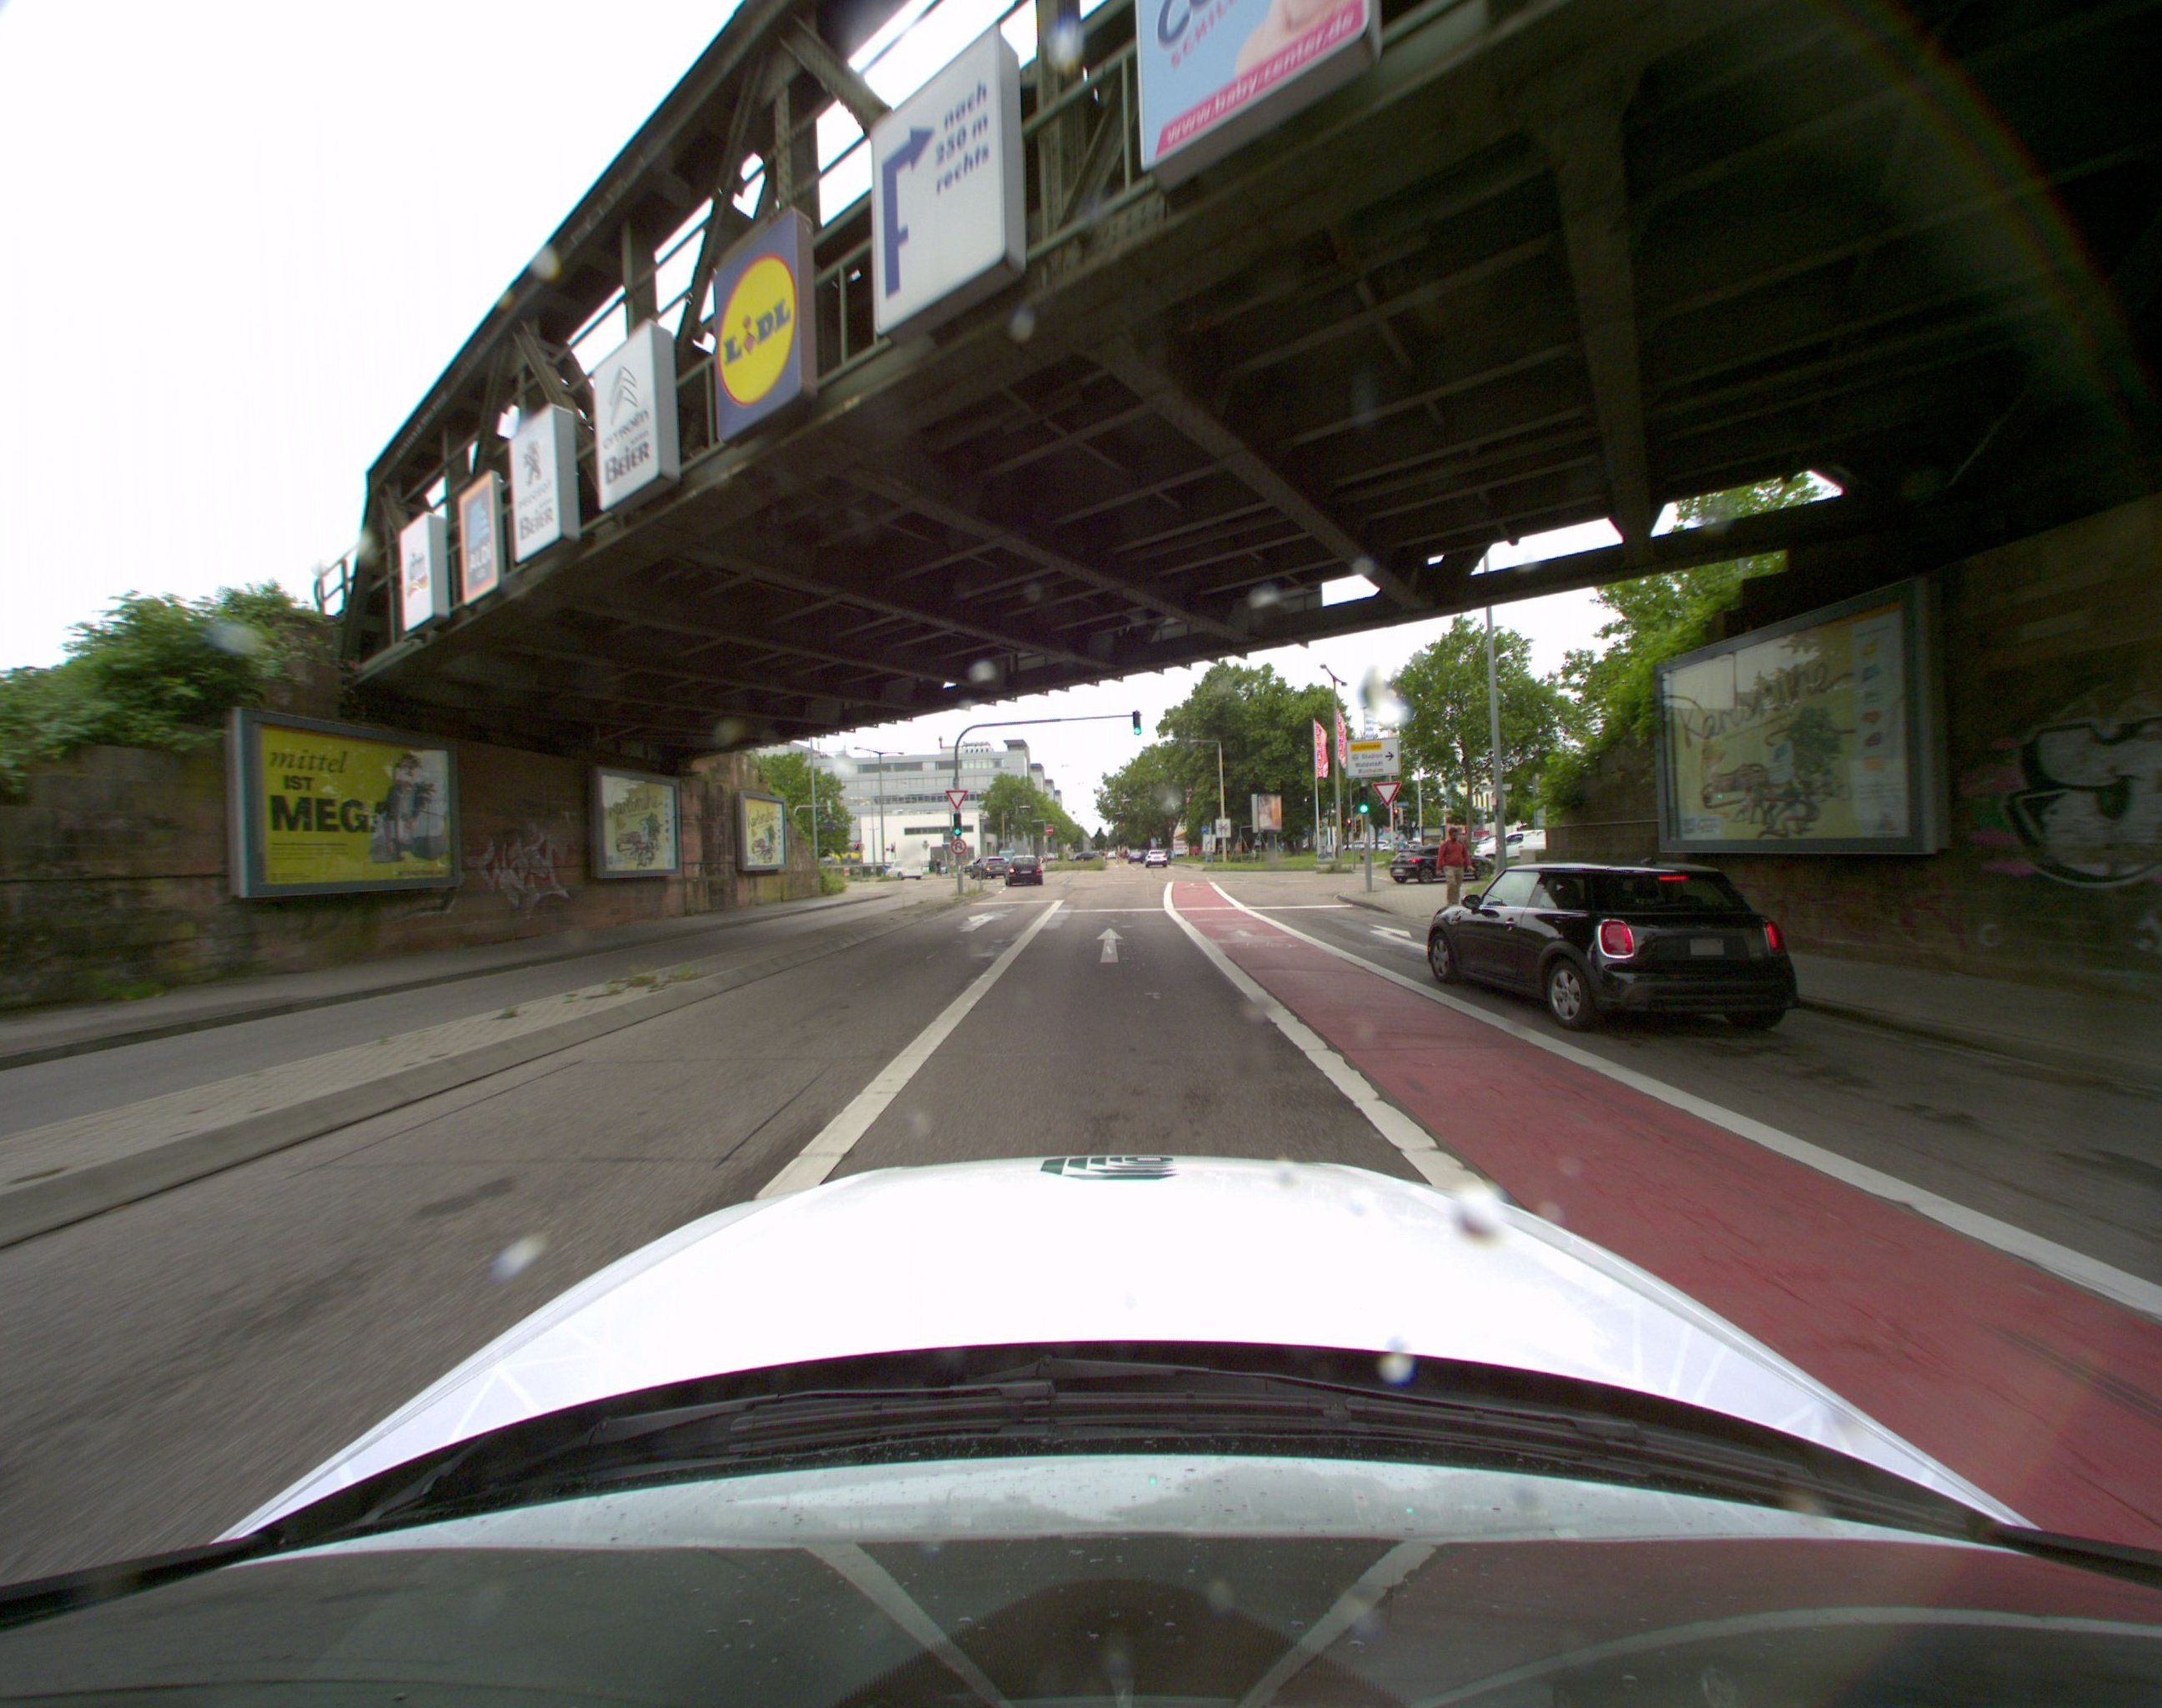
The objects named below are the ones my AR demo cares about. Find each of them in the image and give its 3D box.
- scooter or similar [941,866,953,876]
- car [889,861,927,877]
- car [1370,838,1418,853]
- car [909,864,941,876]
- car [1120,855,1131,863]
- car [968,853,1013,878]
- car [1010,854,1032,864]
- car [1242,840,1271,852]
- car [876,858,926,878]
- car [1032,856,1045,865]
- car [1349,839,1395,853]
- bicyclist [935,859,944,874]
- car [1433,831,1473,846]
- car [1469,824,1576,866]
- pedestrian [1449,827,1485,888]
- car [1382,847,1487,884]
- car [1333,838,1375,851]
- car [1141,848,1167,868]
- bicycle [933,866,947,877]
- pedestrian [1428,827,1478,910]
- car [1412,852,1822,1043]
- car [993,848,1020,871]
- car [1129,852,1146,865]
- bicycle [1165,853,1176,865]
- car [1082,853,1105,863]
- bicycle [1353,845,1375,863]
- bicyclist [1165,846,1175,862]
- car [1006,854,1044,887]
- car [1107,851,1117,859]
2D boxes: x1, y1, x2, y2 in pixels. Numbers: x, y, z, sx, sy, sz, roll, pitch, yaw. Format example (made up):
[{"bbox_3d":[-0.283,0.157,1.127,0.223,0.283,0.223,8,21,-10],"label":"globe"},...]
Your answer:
[{"bbox_3d":[-14.163,1.808,86.194,0.640,1.062,1.456,-1,1,15],"label":"scooter or similar"},{"bbox_3d":[-18.956,1.631,89.326,3.626,1.527,1.783,-3,0,20],"label":"car"},{"bbox_3d":[34.198,-0.935,89.008,4.434,1.497,1.929,-1,0,-3],"label":"car"},{"bbox_3d":[-23.524,2.400,122.913,4.514,1.634,1.912,-3,0,-2],"label":"car"},{"bbox_3d":[9.201,1.047,167.783,1.871,1.632,4.000,-3,0,0],"label":"car"},{"bbox_3d":[-6.418,0.807,57.292,1.784,1.652,3.633,-2,1,-31],"label":"car"},{"bbox_3d":[-12.503,1.062,169.953,4.398,1.783,1.825,-3,0,-1],"label":"car"},{"bbox_3d":[29.839,-1.327,138.690,4.537,1.790,2.074,-3,1,1],"label":"car"},{"bbox_3d":[-15.053,1.124,67.980,1.979,1.527,4.951,-2,1,-40],"label":"car"},{"bbox_3d":[-7.920,1.293,152.584,1.811,1.475,4.134,-4,-2,4],"label":"car"},{"bbox_3d":[34.065,-0.934,95.536,4.660,1.497,2.170,-1,0,-1],"label":"car"},{"bbox_3d":[-14.665,1.310,84.413,0.640,1.518,0.629,-1,0,15],"label":"bicyclist"},{"bbox_3d":[50.817,-2.131,111.338,4.544,1.677,2.152,-3,0,-4],"label":"car"},{"bbox_3d":[21.566,-0.387,39.856,4.364,1.829,1.892,-3,-2,34],"label":"car"},{"bbox_3d":[10.552,0.091,22.293,0.736,1.640,0.782,-2,0,18],"label":"pedestrian"},{"bbox_3d":[13.604,0.409,31.408,3.412,1.281,1.645,-1,0,-13],"label":"car"},{"bbox_3d":[33.916,-1.188,101.346,4.520,1.497,1.957,-1,0,-3],"label":"car"},{"bbox_3d":[6.394,0.334,71.293,1.818,1.600,3.774,-1,1,-2],"label":"car"},{"bbox_3d":[-14.635,1.805,84.520,0.640,1.062,2.009,-1,1,15],"label":"bicycle"},{"bbox_3d":[8.224,0.314,17.996,0.863,1.759,0.792,-2,0,30],"label":"pedestrian"},{"bbox_3d":[4.888,0.726,8.153,1.673,1.431,3.775,-1,0,1],"label":"car"},{"bbox_3d":[-9.720,0.645,106.631,2.317,2.825,5.957,-3,0,5],"label":"car"},{"bbox_3d":[6.876,0.556,99.212,1.679,1.513,3.704,-1,1,-1],"label":"car"},{"bbox_3d":[8.955,0.479,81.766,0.813,1.212,2.684,-3,0,2],"label":"bicycle"},{"bbox_3d":[2.067,0.645,138.926,3.869,1.556,1.825,-1,0,1],"label":"car"},{"bbox_3d":[19.884,-0.004,57.244,1.816,1.118,0.483,-3,0,-37],"label":"bicycle"},{"bbox_3d":[8.927,-0.003,81.765,0.813,1.630,1.235,-3,0,1],"label":"bicyclist"},{"bbox_3d":[-2.869,0.826,42.432,1.764,1.527,3.667,-1,1,-2],"label":"car"},{"bbox_3d":[6.383,0.261,167.083,1.790,1.513,3.704,-1,1,-2],"label":"car"}]
